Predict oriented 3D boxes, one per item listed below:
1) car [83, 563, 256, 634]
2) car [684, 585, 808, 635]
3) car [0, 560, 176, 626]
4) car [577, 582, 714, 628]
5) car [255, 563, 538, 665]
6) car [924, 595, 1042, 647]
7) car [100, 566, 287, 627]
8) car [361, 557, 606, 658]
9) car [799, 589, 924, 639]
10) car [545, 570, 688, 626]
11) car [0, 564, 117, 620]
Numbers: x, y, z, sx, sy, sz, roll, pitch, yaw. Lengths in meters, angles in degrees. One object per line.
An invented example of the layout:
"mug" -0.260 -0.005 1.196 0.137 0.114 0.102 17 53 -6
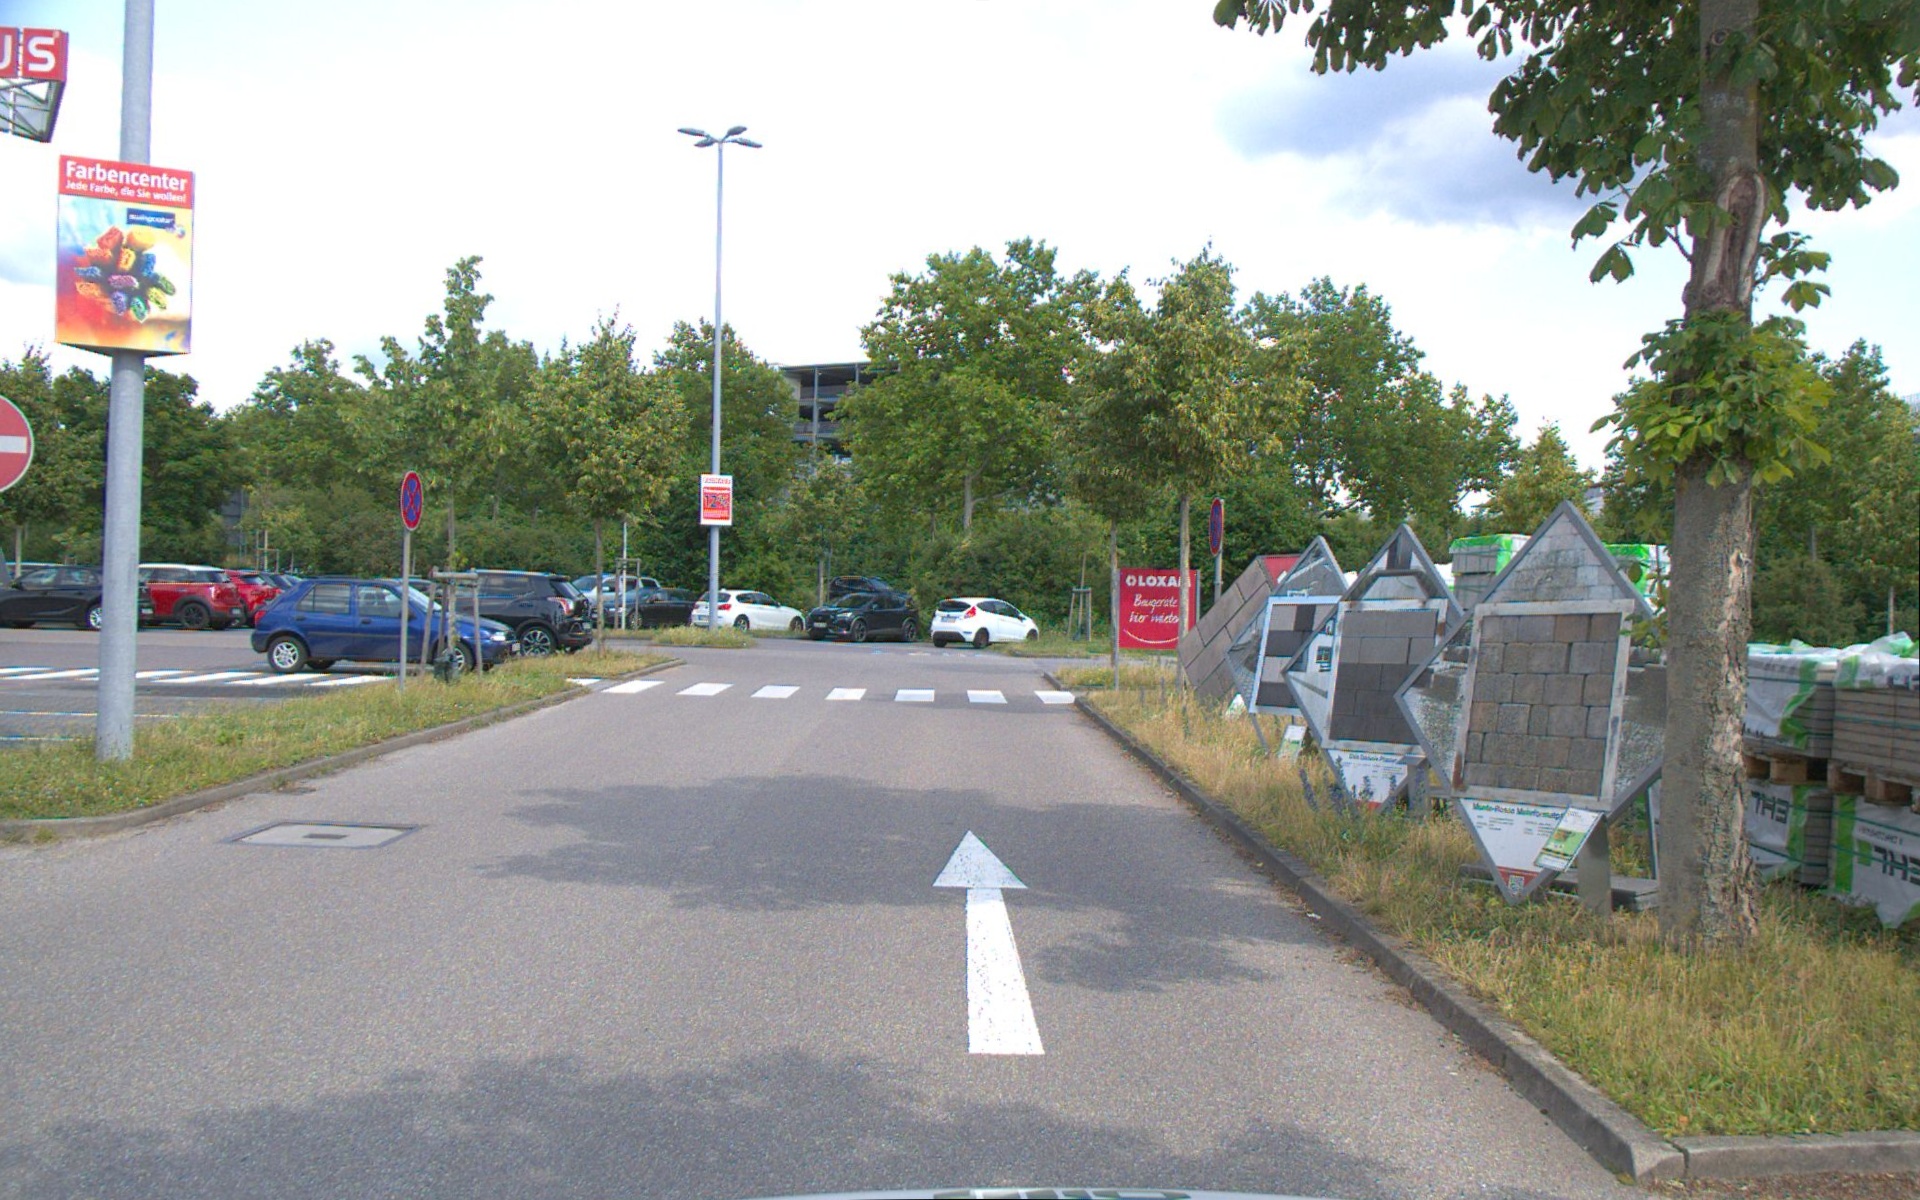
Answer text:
"car" -19.259 -0.038 40.392 3.367 1.609 1.709 2 0 -3
"car" -6.895 0.327 53.722 1.657 1.536 4.065 1 0 36
"car" -20.310 -0.175 37.922 3.793 1.393 1.728 2 0 -2
"car" -10.710 0.177 56.632 1.802 1.476 4.709 2 0 34
"car" -8.405 0.199 24.886 3.674 1.391 1.621 1 0 -1
"car" 0.704 0.613 48.385 1.638 1.436 3.541 2 0 38
"car" -19.857 -0.099 42.979 3.994 1.423 1.765 2 0 -3
"car" -8.548 0.133 29.888 3.869 1.653 1.736 2 0 1
"car" -3.009 0.439 51.334 1.697 1.435 4.230 2 0 33
"car" -12.134 -0.047 58.754 1.949 1.875 5.134 2 0 32
"car" -24.568 -0.245 43.115 4.183 1.376 1.893 2 0 -4
